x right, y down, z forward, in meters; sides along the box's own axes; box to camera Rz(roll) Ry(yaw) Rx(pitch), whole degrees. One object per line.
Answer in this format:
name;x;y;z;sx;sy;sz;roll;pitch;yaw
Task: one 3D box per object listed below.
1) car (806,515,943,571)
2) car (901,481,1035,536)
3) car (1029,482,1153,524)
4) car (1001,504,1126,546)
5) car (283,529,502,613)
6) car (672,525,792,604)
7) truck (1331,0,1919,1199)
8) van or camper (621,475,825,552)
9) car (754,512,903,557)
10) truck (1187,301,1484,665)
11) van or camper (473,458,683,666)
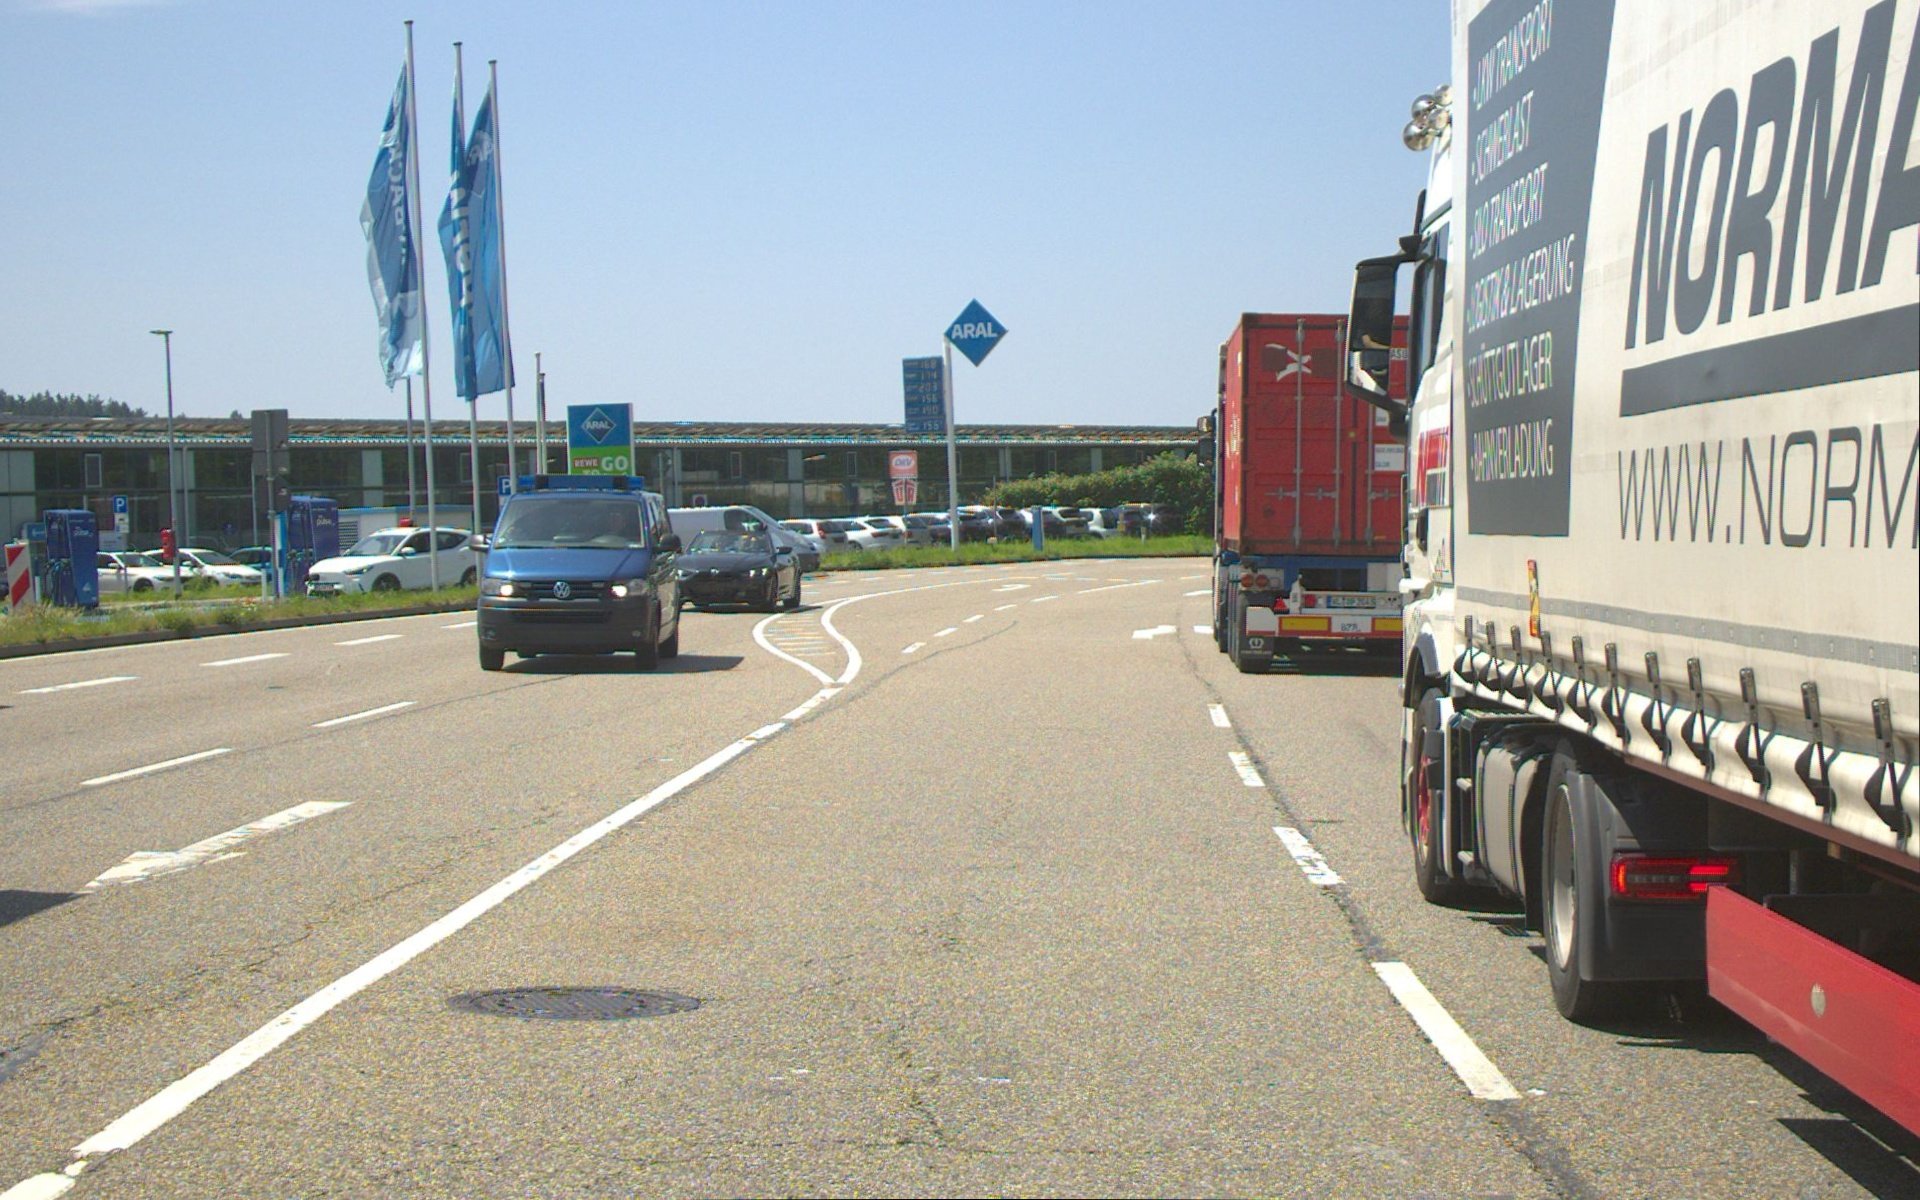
car;-2.740;-1.824;109.884;3.994;1.744;1.931;0;1;32
car;0.268;-3.007;113.892;3.994;1.744;1.996;0;1;32
car;4.682;-3.463;122.844;3.993;1.357;1.817;-1;1;29
car;3.643;-2.655;121.045;3.993;1.313;1.830;-1;1;29
car;-11.826;-0.621;71.895;1.866;1.706;4.510;0;1;36
car;-3.805;-0.623;58.010;1.848;1.267;4.177;0;1;-1
truck;3.115;-0.646;7.427;2.973;4.079;17.635;0;1;1
van or camper;-5.948;-2.173;86.594;4.848;1.898;1.904;0;1;6
car;-4.098;-2.039;106.990;4.244;1.354;1.997;0;1;30
truck;4.426;-1.473;43.157;2.648;3.793;13.360;2;2;2
van or camper;-4.134;-0.461;37.917;1.836;2.130;5.343;0;1;-1
